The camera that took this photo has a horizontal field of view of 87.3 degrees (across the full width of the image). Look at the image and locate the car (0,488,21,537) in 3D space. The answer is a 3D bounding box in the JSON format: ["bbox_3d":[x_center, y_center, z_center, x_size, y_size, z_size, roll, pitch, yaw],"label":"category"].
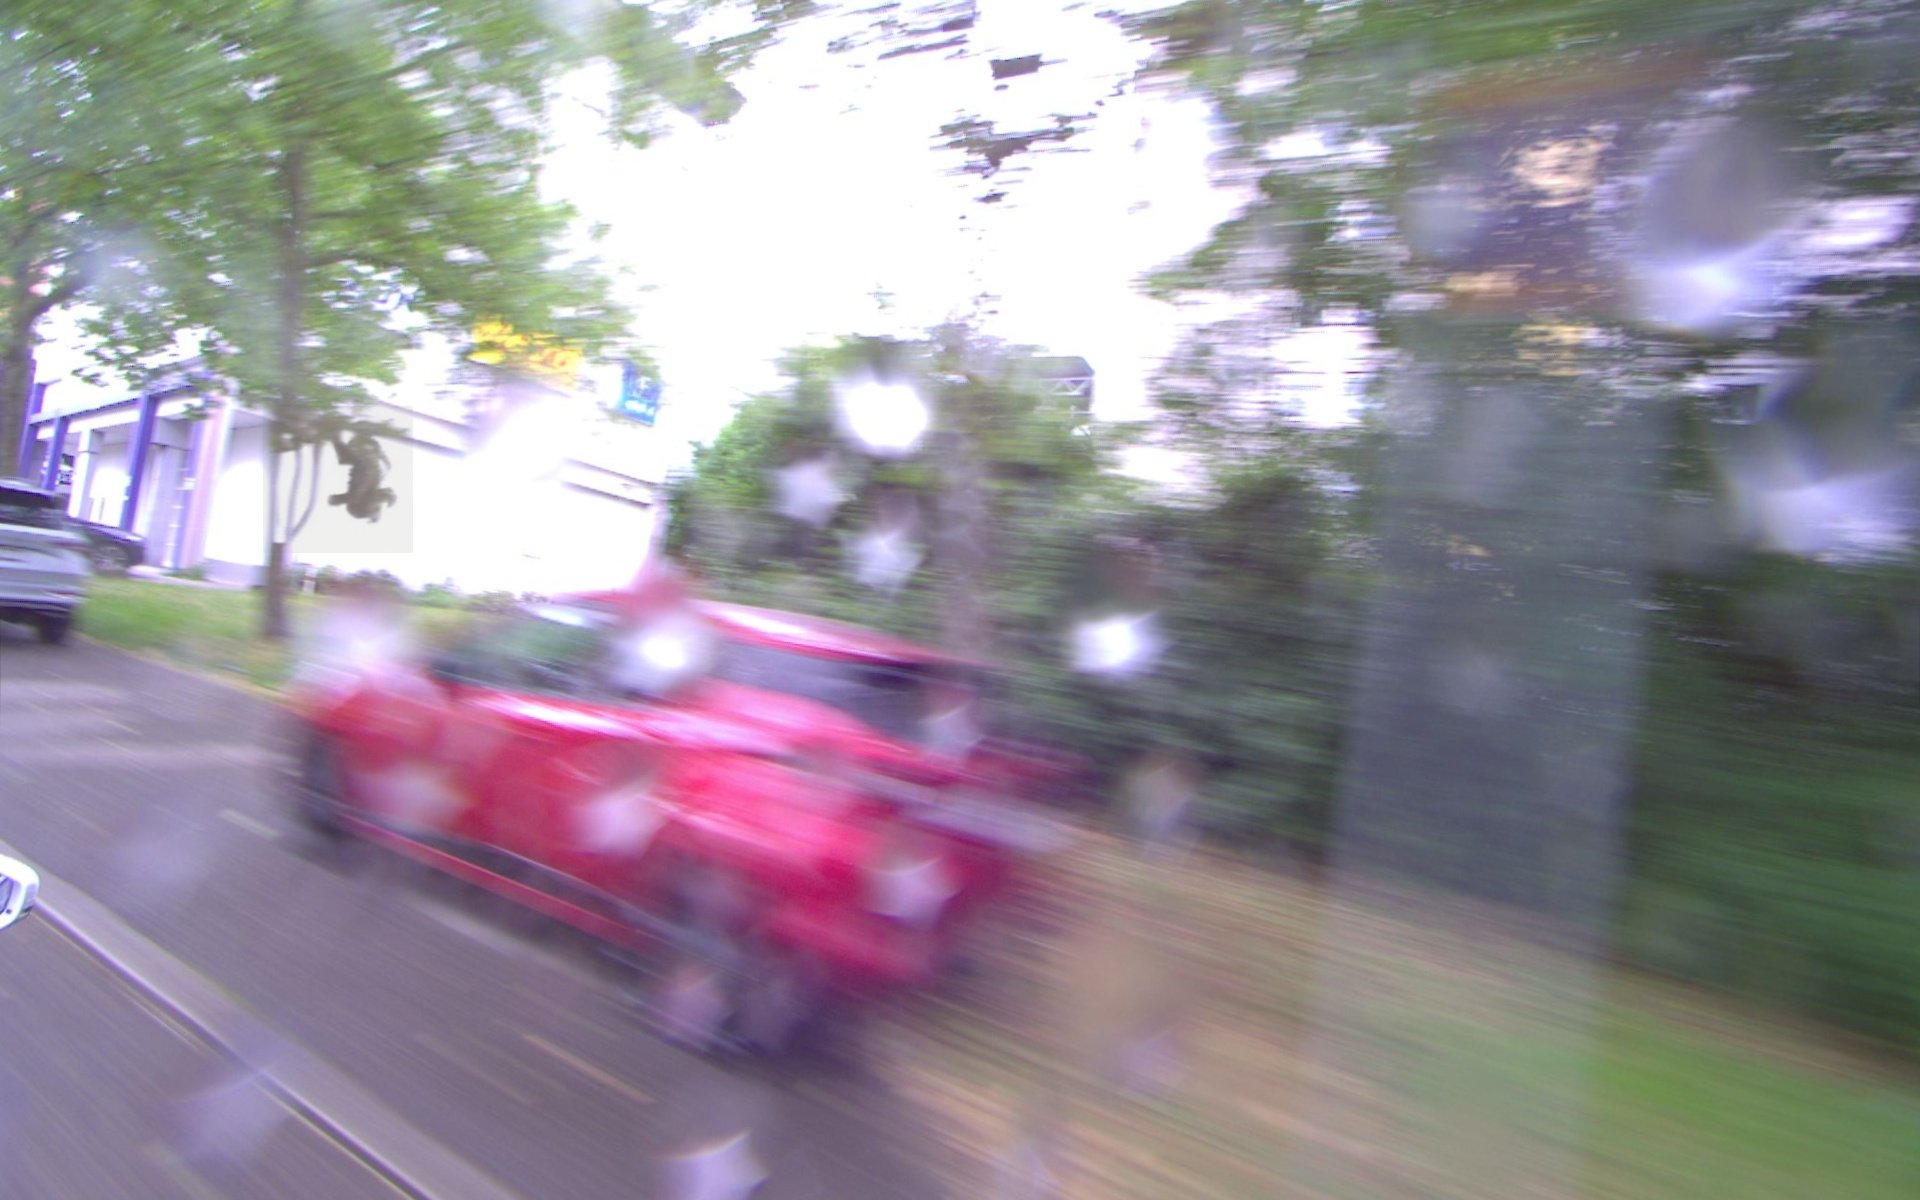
[{"bbox_3d":[-38.690,-3.776,37.952,1.801,1.777,4.385,10,-3,38],"label":"car"}]

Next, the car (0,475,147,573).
[{"bbox_3d":[-20.847,-1.843,21.855,1.739,1.698,4.480,8,-3,34],"label":"car"}]

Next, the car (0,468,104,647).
[{"bbox_3d":[-10.744,-0.629,10.303,4.183,1.610,1.731,7,-1,32],"label":"car"}]

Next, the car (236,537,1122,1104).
[{"bbox_3d":[-1.387,0.658,4.624,3.682,1.388,1.800,7,-2,32],"label":"car"}]
